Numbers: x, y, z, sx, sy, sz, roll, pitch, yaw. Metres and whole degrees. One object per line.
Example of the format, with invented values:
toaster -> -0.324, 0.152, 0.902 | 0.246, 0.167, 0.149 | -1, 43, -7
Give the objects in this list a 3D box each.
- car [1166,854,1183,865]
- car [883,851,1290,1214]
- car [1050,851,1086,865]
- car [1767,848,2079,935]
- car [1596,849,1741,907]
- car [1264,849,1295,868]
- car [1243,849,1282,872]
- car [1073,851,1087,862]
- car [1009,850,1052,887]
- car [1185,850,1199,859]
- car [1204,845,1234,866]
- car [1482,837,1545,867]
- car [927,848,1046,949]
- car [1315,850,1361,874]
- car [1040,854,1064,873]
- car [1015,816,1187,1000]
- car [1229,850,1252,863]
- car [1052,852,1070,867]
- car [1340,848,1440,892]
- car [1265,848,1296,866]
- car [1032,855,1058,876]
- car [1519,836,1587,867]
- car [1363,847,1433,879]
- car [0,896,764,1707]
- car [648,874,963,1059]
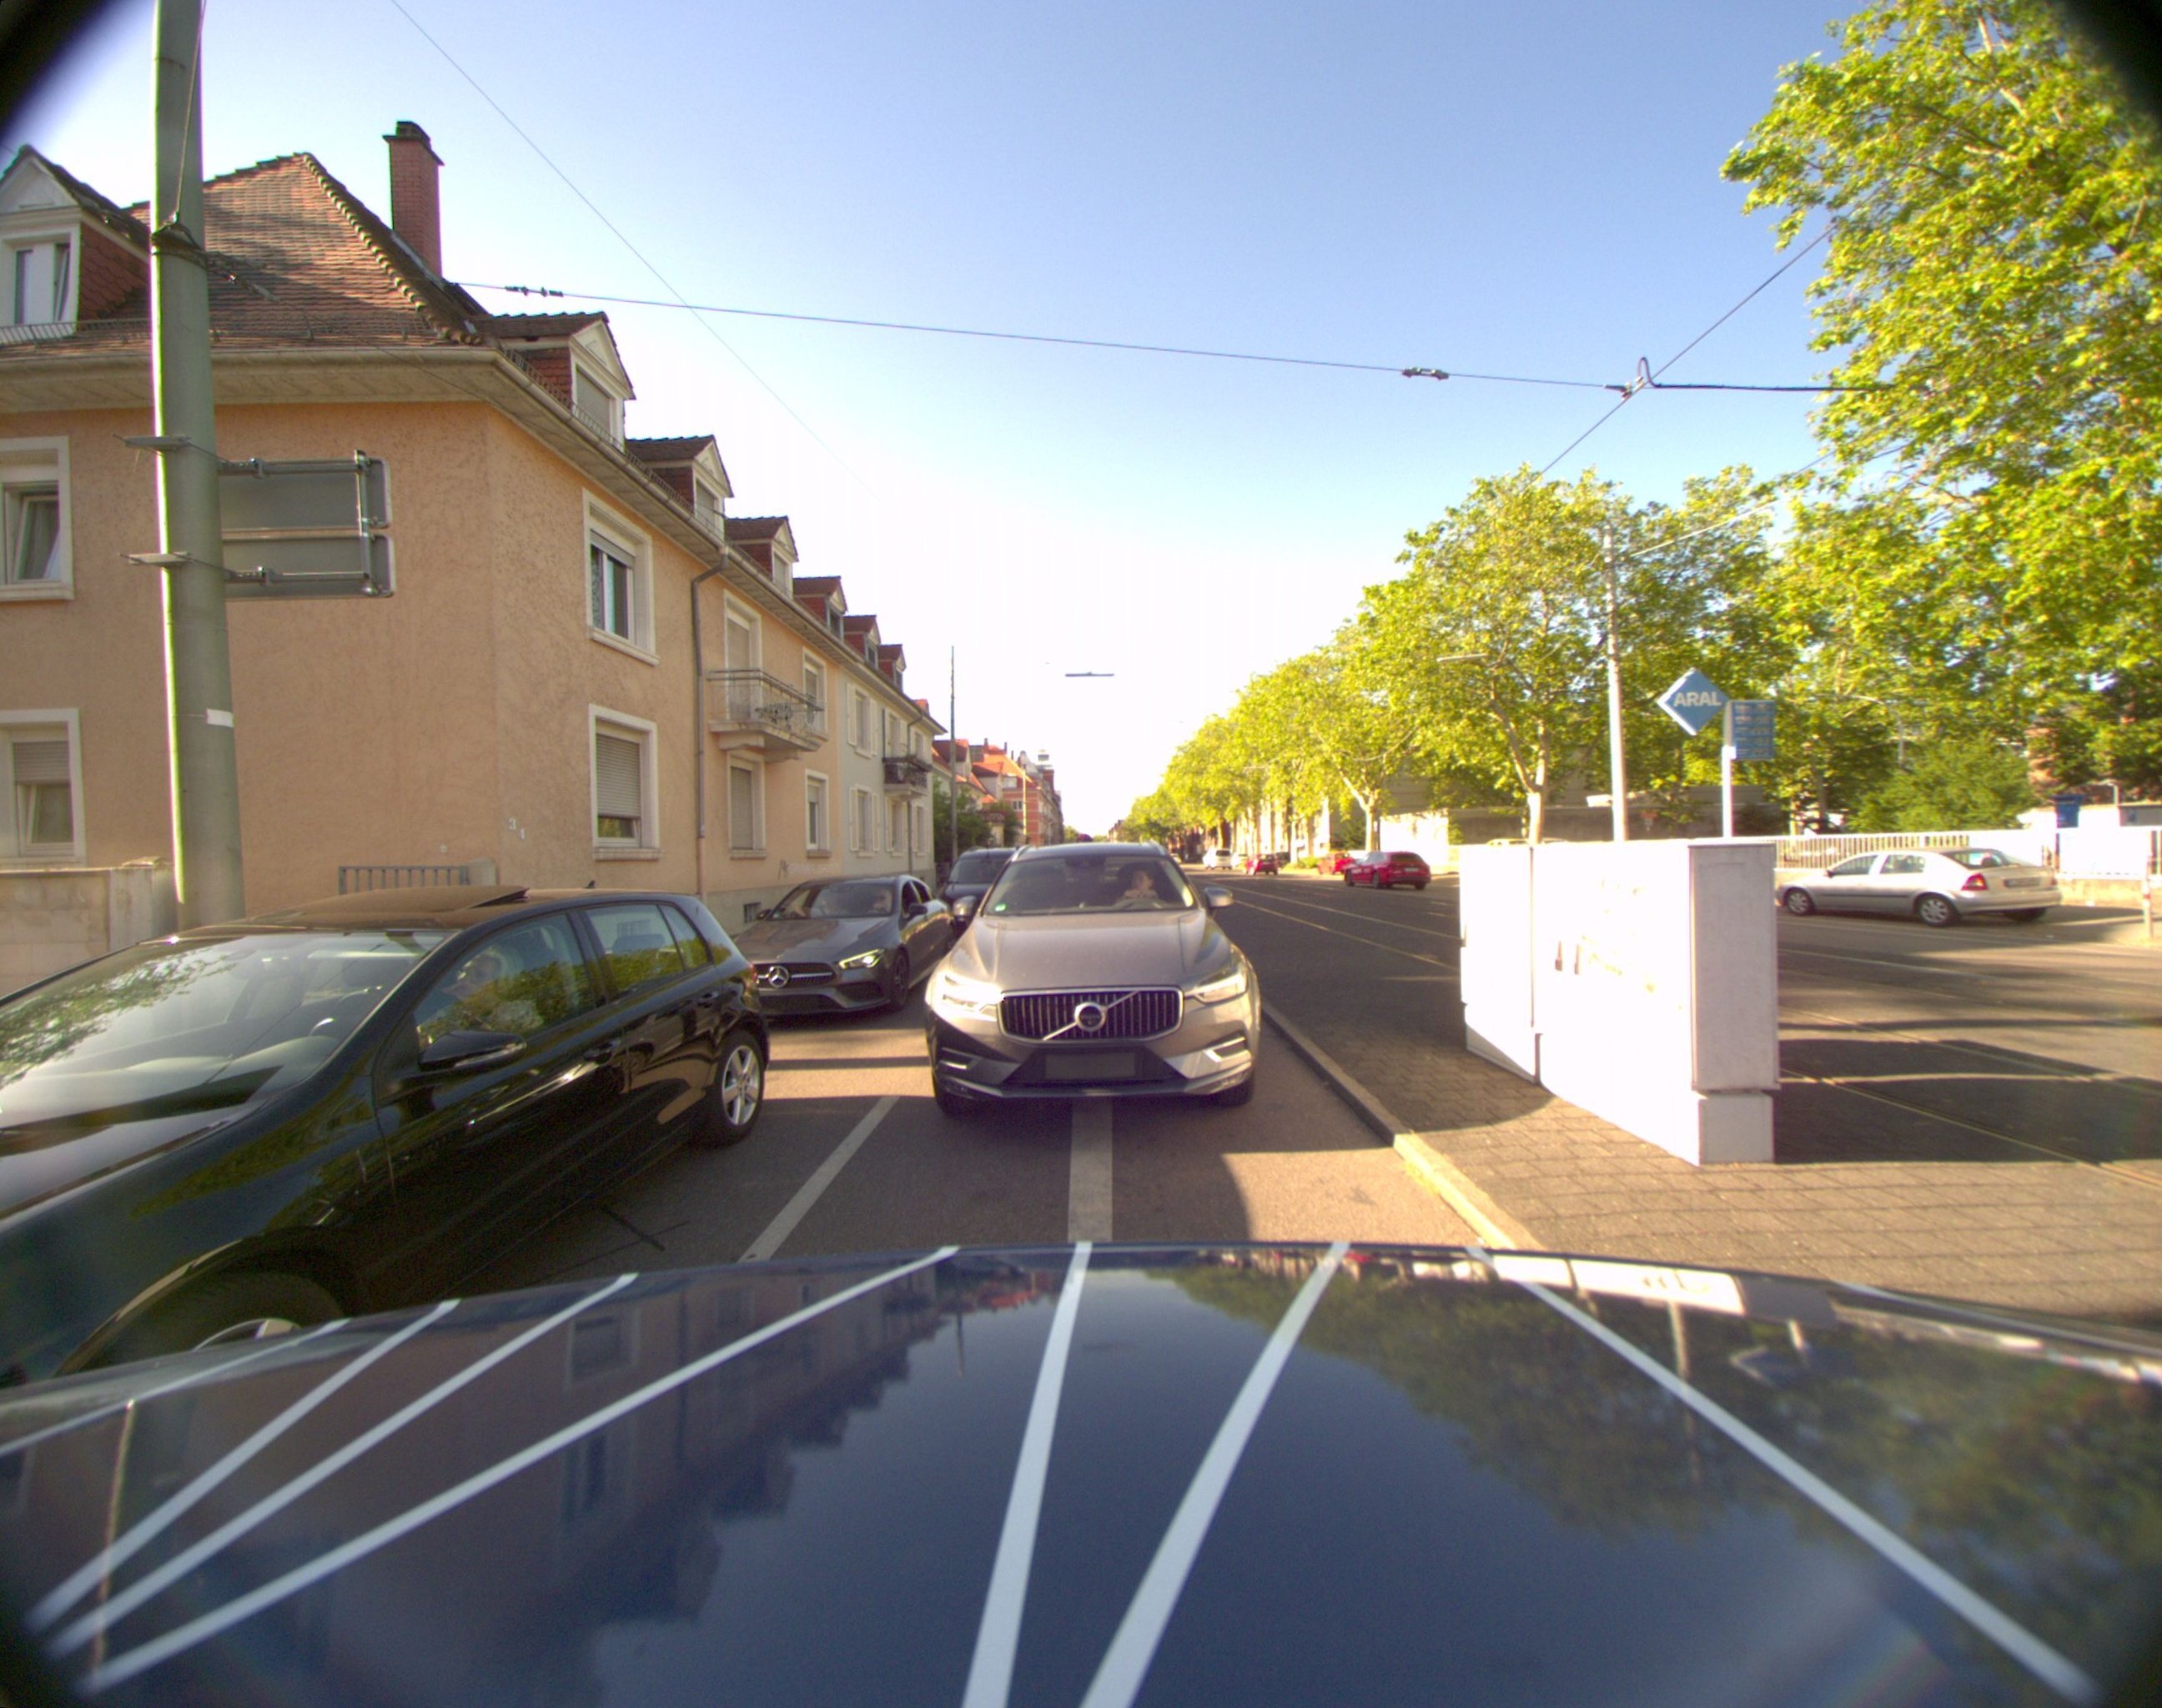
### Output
car -> 13.018, 0.767, 105.915 | 1.764, 1.487, 3.999 | -2, 1, 1
car -> 0.035, 0.858, 6.071 | 1.912, 1.666, 4.763 | -2, 1, 0
car -> -1.613, 0.485, 93.387 | 3.990, 1.449, 1.845 | -2, 1, 25
car -> 16.180, 0.631, 14.969 | 1.731, 1.412, 3.999 | -2, 1, 1
car -> 16.304, 0.613, 21.283 | 1.546, 1.412, 3.254 | -2, 1, 1
car -> 17.165, 0.328, 65.993 | 1.700, 1.566, 3.999 | -1, 1, 1
car -> 12.224, 0.403, 51.359 | 1.700, 1.412, 3.999 | -1, 1, 1
car -> -0.162, 0.284, 106.487 | 1.841, 1.449, 3.999 | -2, 1, 1
car -> -2.896, 0.771, 45.004 | 1.937, 1.888, 7.210 | -2, 1, 1
car -> 18.330, 0.037, 125.559 | 1.700, 1.401, 3.999 | -1, 1, 1
car -> 12.636, 0.106, 69.845 | 1.850, 1.835, 4.394 | -1, 1, -1
car -> 21.712, -0.107, 38.278 | 1.545, 1.412, 3.151 | -2, 1, 4
car -> -1.862, 0.811, 16.516 | 1.866, 1.794, 4.778 | -2, 1, 1
car -> 16.942, 0.481, 50.241 | 1.700, 1.460, 3.999 | -1, 1, 1
car -> -2.534, 0.813, 66.997 | 1.841, 1.449, 3.999 | -2, 1, 1
car -> 0.234, 0.601, 11.121 | 1.912, 2.048, 4.763 | -2, 1, 0
car -> 17.513, 0.260, 83.520 | 1.700, 1.401, 3.999 | -1, 1, 1
car -> -2.185, 0.595, 85.435 | 1.841, 1.449, 3.999 | -2, 1, 1
car -> 11.790, 0.553, 29.402 | 1.912, 1.514, 4.763 | 0, 1, 0
car -> 17.282, 0.235, 65.912 | 1.700, 1.401, 3.999 | -1, 1, 1
car -> -2.830, 0.895, 60.588 | 1.841, 1.449, 3.999 | -2, 1, 1
car -> 23.355, -0.125, 37.739 | 1.545, 1.412, 3.151 | -2, 1, 4
car -> 17.049, 0.443, 41.099 | 1.753, 1.514, 4.434 | -5, 1, -1
car -> -2.876, 0.994, 2.664 | 1.733, 1.499, 4.051 | -2, -1, 1
car -> -2.790, 1.061, 8.987 | 1.911, 1.411, 4.492 | -2, 1, 2
